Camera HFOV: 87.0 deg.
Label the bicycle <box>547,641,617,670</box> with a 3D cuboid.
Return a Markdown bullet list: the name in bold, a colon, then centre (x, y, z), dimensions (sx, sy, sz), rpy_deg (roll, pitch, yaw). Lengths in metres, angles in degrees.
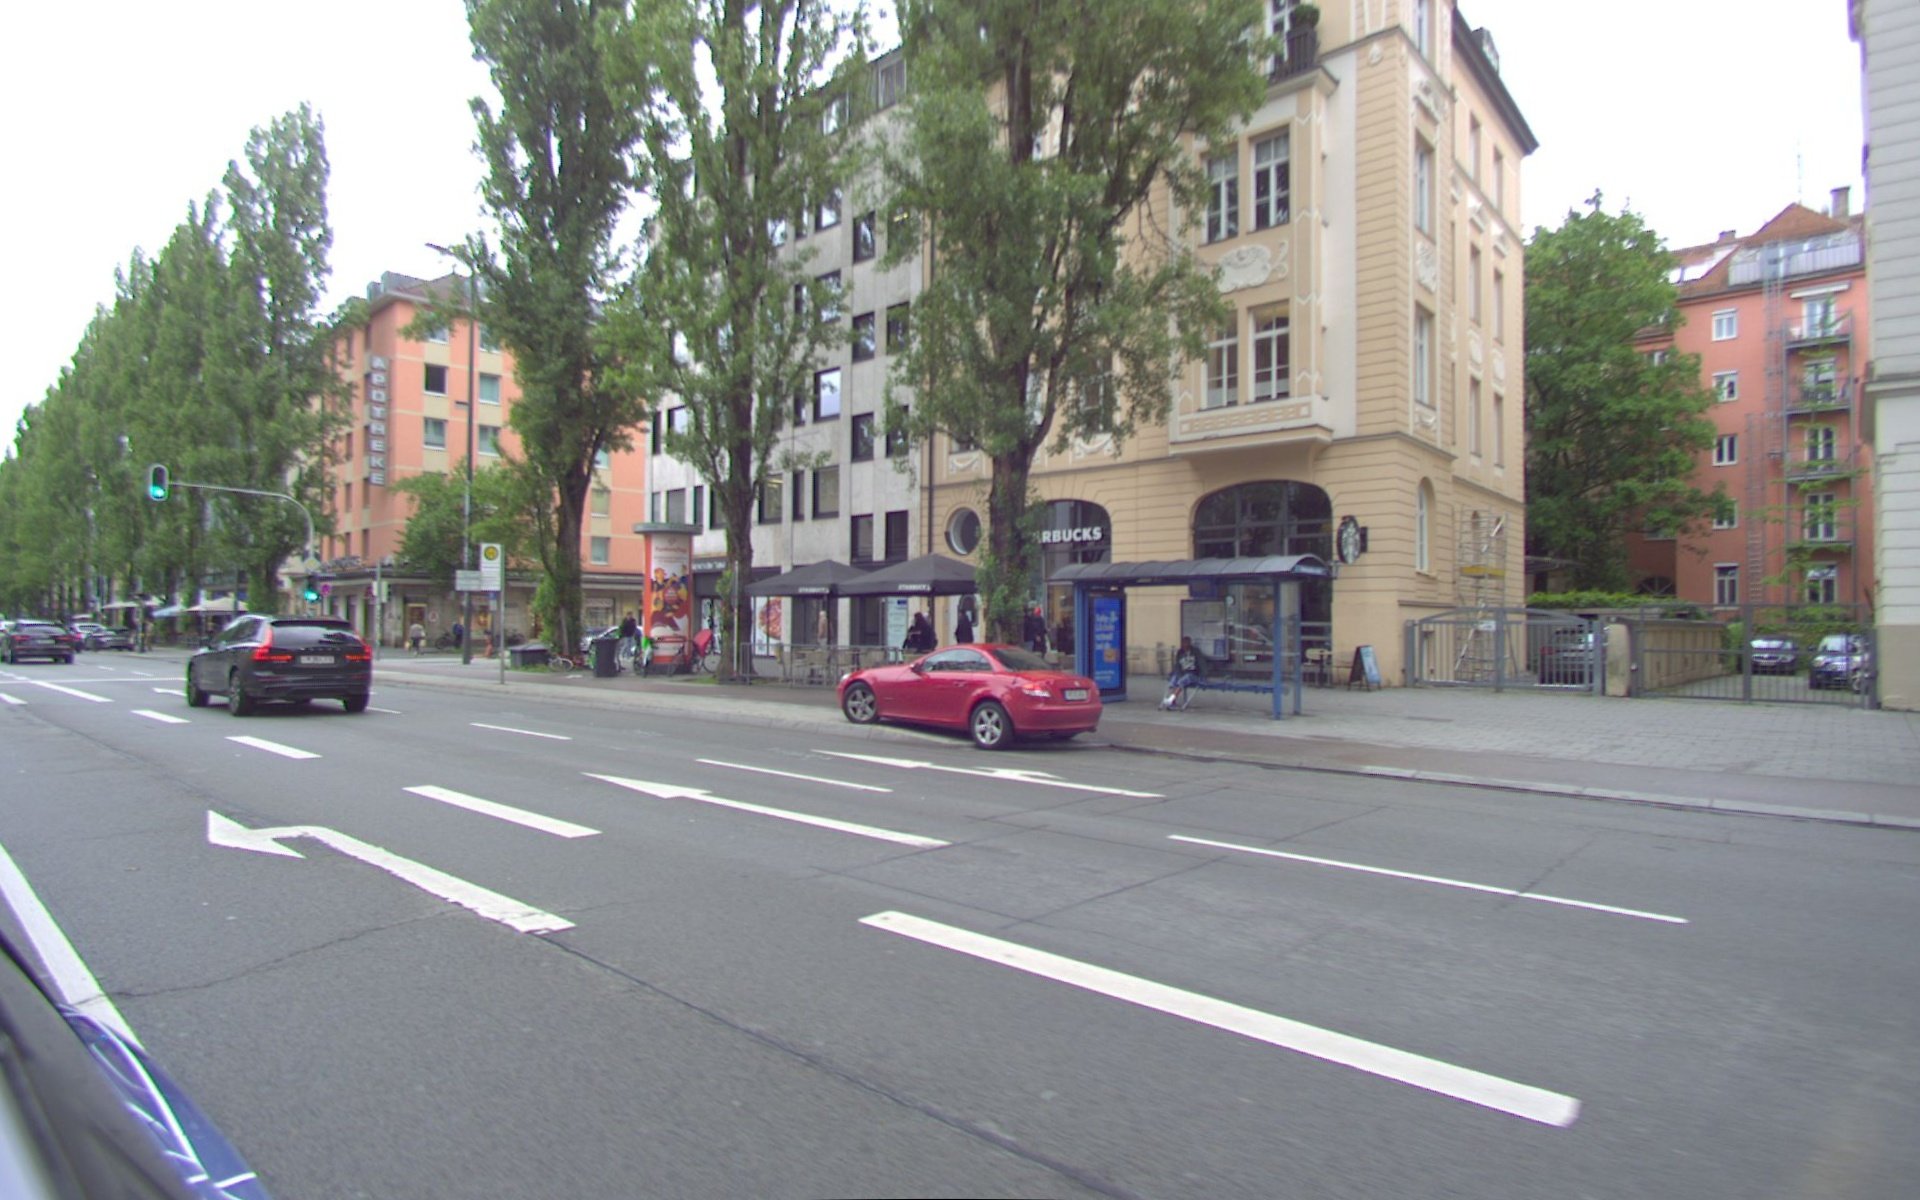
- **bicycle**: centre (-11.619, 1.704, 31.158), dimensions (0.827, 0.514, 1.939), rpy_deg (22, 9, 21)

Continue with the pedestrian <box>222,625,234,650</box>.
- **pedestrian**: centre (-51.835, 2.661, 71.682), dimensions (0.692, 1.731, 0.549), rpy_deg (-2, -2, 41)

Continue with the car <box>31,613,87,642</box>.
- **car**: centre (-47.125, 1.467, 52.911), dimensions (3.995, 1.450, 1.624), rpy_deg (-1, -3, 41)

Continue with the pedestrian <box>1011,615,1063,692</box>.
- **pedestrian**: centre (1.810, 1.228, 23.670), dimensions (0.895, 1.757, 0.821), rpy_deg (1, -2, -43)

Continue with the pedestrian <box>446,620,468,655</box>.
- **pedestrian**: centre (-25.962, 1.925, 52.246), dimensions (0.692, 1.780, 0.770), rpy_deg (-2, -2, 41)

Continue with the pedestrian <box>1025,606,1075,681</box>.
- **pedestrian**: centre (2.225, 1.070, 25.031), dimensions (0.911, 1.801, 0.791), rpy_deg (-2, -1, 42)

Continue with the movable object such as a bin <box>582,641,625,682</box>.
- **movable object such as a bin**: centre (-9.490, 1.623, 26.959), dimensions (0.847, 1.049, 0.722), rpy_deg (-1, 0, 13)

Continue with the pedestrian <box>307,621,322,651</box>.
- **pedestrian**: centre (-37.975, 2.121, 59.522), dimensions (0.519, 1.701, 0.623), rpy_deg (-1, 0, 42)

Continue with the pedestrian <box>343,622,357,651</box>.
- **pedestrian**: centre (-35.860, 2.161, 59.473), dimensions (0.514, 1.704, 0.580), rpy_deg (-2, -2, 41)

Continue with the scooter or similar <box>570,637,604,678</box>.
- **scooter or similar**: centre (-10.624, 1.613, 28.853), dimensions (0.384, 1.122, 1.562), rpy_deg (0, -2, 1)

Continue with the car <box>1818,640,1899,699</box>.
- **car**: centre (22.292, 1.679, 25.119), dimensions (1.414, 1.318, 3.126), rpy_deg (-2, -2, 42)

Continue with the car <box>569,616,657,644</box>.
- **car**: centre (-18.035, 1.546, 52.680), dimensions (3.937, 1.431, 1.785), rpy_deg (1, -2, -40)

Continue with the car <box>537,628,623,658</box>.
- **car**: centre (-20.302, 2.271, 54.070), dimensions (3.937, 1.431, 1.785), rpy_deg (-1, 0, -40)

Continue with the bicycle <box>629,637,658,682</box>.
- **bicycle**: centre (-8.584, 1.589, 27.391), dimensions (0.499, 1.096, 1.815), rpy_deg (-1, 0, -25)

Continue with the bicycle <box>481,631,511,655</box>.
- **bicycle**: centre (-23.639, 2.181, 51.509), dimensions (2.058, 1.193, 0.411), rpy_deg (-1, -2, 35)

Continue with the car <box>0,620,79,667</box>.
- **car**: centre (-35.339, 1.662, 38.635), dimensions (4.584, 1.693, 1.893), rpy_deg (-1, -4, 41)

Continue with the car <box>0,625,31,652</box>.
- **car**: centre (-64.550, 2.591, 68.611), dimensions (4.634, 1.729, 1.817), rpy_deg (-1, -3, 42)

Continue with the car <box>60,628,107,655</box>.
- **car**: centre (-54.108, 2.540, 62.442), dimensions (4.094, 1.595, 1.685), rpy_deg (-1, -2, 42)

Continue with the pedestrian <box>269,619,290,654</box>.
- **pedestrian**: centre (-35.058, 1.896, 52.108), dimensions (0.778, 1.784, 0.716), rpy_deg (-2, -2, 42)

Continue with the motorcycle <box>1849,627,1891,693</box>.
- **motorcycle**: centre (20.343, 1.307, 22.650), dimensions (0.639, 1.383, 2.374), rpy_deg (-2, -2, 41)

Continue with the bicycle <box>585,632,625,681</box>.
- **bicycle**: centre (-10.102, 1.586, 28.857), dimensions (0.501, 1.299, 1.955), rpy_deg (-1, 0, -1)

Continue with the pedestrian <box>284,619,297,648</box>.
- **pedestrian**: centre (-38.728, 1.949, 58.557), dimensions (0.626, 1.683, 0.501), rpy_deg (-2, -1, 43)

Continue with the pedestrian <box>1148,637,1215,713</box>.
- **pedestrian**: centre (3.901, 1.291, 17.792), dimensions (0.757, 1.266, 0.950), rpy_deg (-2, -1, 43)

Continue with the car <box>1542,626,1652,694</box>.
- **car**: centre (16.169, 1.461, 25.631), dimensions (1.720, 1.586, 3.694), rpy_deg (-1, -2, 42)

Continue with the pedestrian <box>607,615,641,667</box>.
- **pedestrian**: centre (-11.743, 1.421, 35.362), dimensions (0.941, 1.753, 0.719), rpy_deg (-1, 0, 41)

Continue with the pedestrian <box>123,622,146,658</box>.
- **pedestrian**: centre (-42.312, 2.020, 51.883), dimensions (0.725, 1.809, 0.995), rpy_deg (-1, 0, -30)

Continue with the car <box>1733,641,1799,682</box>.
- **car**: centre (30.838, 2.302, 38.674), dimensions (1.720, 1.429, 3.694), rpy_deg (-1, -2, 42)

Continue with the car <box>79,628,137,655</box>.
- **car**: centre (-48.174, 2.318, 57.183), dimensions (4.586, 1.449, 1.686), rpy_deg (-1, -3, 40)

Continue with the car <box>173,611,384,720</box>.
- **car**: centre (-11.779, 1.064, 17.392), dimensions (4.334, 1.636, 1.915), rpy_deg (-1, -4, 41)

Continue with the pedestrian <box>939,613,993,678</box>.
- **pedestrian**: centre (0.170, 1.200, 27.379), dimensions (0.988, 1.697, 1.070), rpy_deg (-1, 0, 40)

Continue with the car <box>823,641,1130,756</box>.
- **car**: centre (0.129, 1.256, 14.118), dimensions (4.093, 1.308, 1.859), rpy_deg (-1, -2, 42)

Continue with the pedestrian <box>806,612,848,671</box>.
- **pedestrian**: centre (-4.061, 1.239, 30.822), dimensions (0.954, 1.757, 0.834), rpy_deg (-1, 0, 42)

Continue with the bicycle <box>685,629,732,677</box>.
- **bicycle**: centre (-7.158, 1.485, 28.867), dimensions (0.579, 1.311, 1.948), rpy_deg (-1, -2, 10)

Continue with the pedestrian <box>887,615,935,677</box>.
- **pedestrian**: centre (-1.277, 1.177, 26.333), dimensions (0.989, 1.579, 0.743), rpy_deg (-1, 0, 41)

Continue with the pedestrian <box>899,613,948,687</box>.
- **pedestrian**: centre (-0.889, 1.193, 24.617), dimensions (0.895, 1.757, 0.821), rpy_deg (1, -2, -44)

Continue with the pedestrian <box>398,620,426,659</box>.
- **pedestrian**: centre (-23.378, 1.674, 43.155), dimensions (0.934, 1.631, 0.770), rpy_deg (-2, -2, 41)

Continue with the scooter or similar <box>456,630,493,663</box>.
- **scooter or similar**: centre (-19.945, 1.911, 41.610), dimensions (1.341, 1.349, 0.439), rpy_deg (1, -2, -28)
